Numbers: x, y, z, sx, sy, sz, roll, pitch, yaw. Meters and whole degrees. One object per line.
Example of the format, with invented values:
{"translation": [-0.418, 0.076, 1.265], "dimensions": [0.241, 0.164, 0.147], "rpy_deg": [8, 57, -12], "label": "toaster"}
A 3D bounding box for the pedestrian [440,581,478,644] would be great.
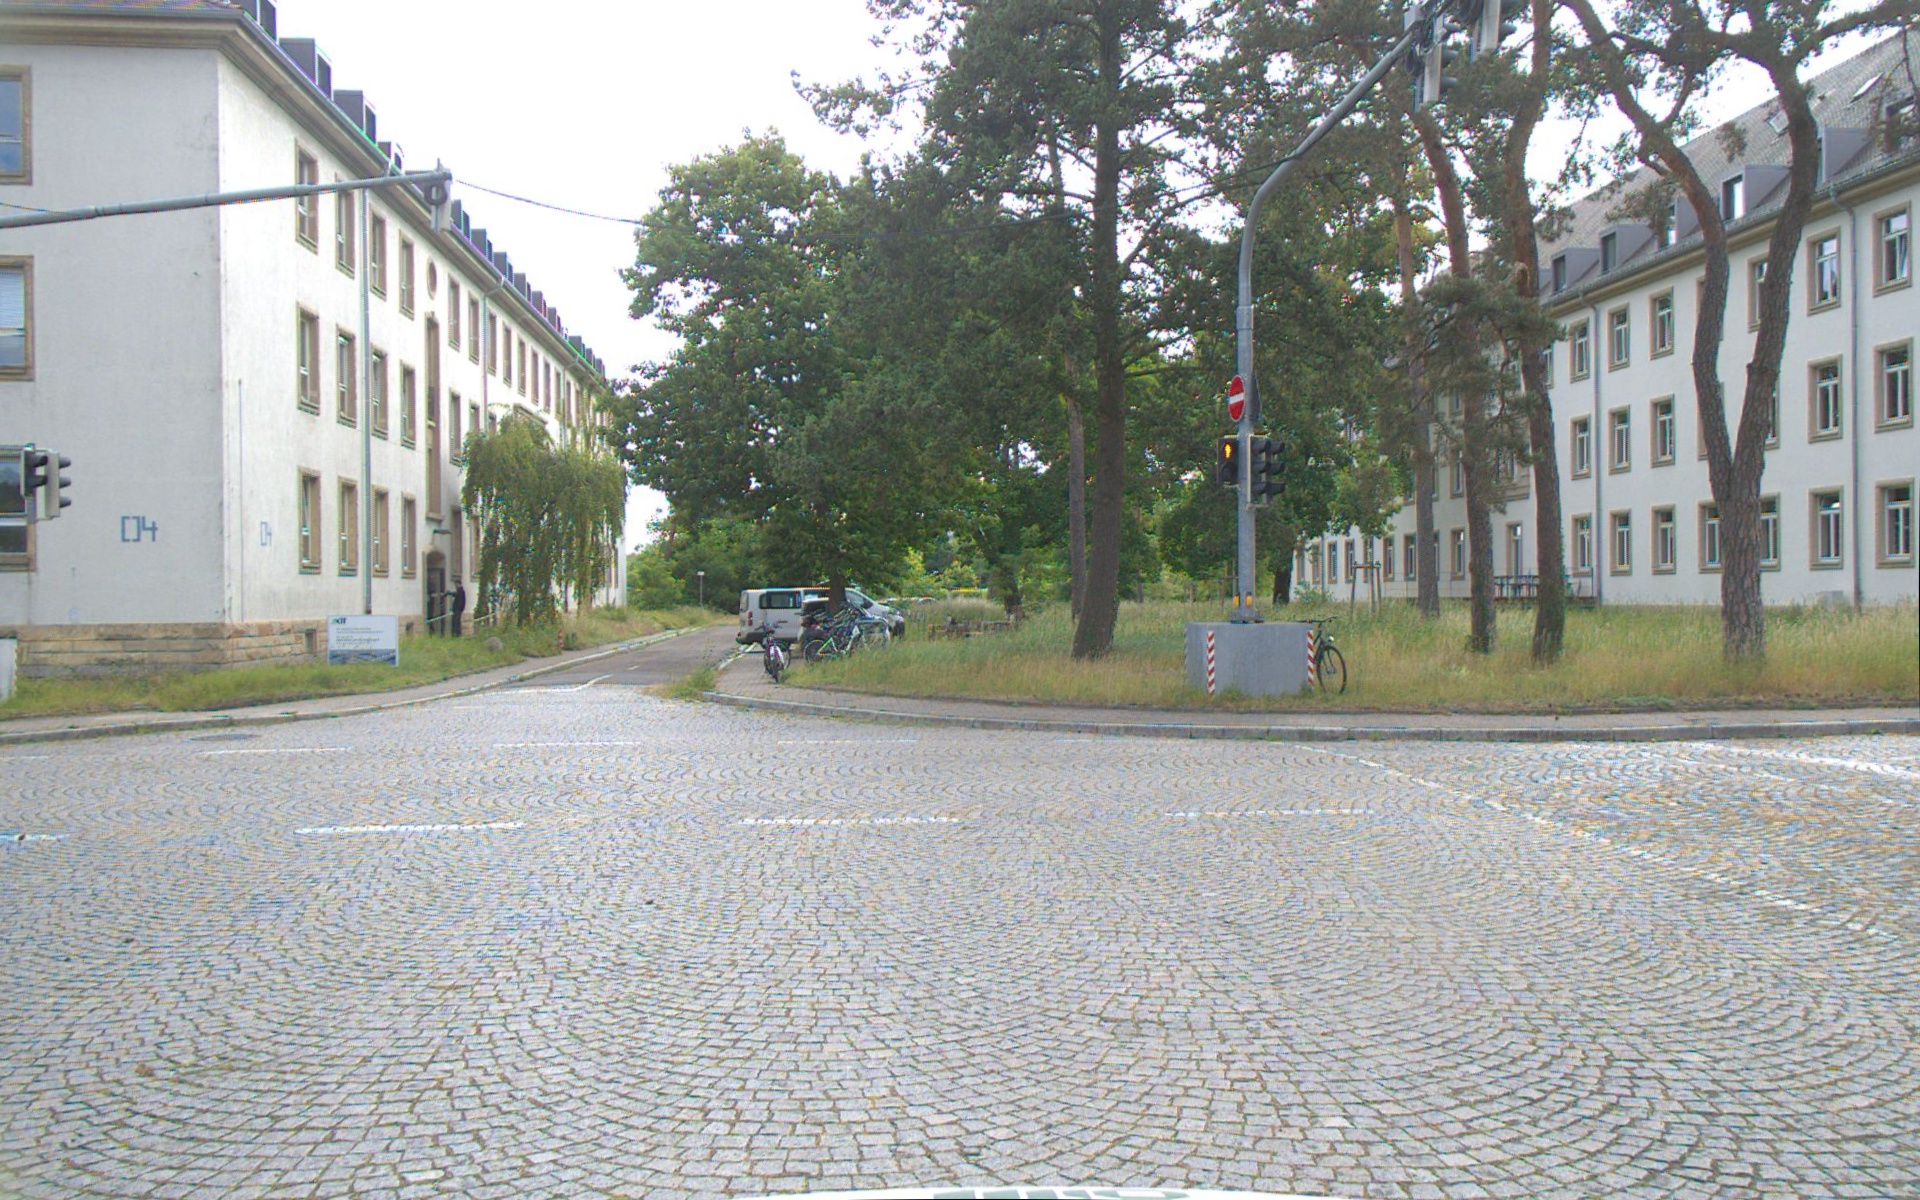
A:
{"translation": [-14.668, 0.363, 48.453], "dimensions": [0.820, 1.812, 0.941], "rpy_deg": [-1, 0, 0], "label": "pedestrian"}

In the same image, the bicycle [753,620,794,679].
{"translation": [-3.608, 0.939, 32.095], "dimensions": [0.609, 1.101, 1.677], "rpy_deg": [0, 0, -1], "label": "bicycle"}

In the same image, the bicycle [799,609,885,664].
{"translation": [-2.735, 0.839, 38.271], "dimensions": [1.944, 1.269, 0.623], "rpy_deg": [0, -1, -7], "label": "bicycle"}

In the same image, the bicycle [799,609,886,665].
{"translation": [-2.679, 0.834, 37.623], "dimensions": [1.944, 1.269, 0.623], "rpy_deg": [0, -1, -7], "label": "bicycle"}

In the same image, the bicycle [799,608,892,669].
{"translation": [-2.435, 0.819, 35.193], "dimensions": [1.944, 1.269, 0.623], "rpy_deg": [0, -1, -7], "label": "bicycle"}

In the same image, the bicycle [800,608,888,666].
{"translation": [-2.613, 0.832, 37.200], "dimensions": [1.944, 1.269, 0.623], "rpy_deg": [0, -1, -7], "label": "bicycle"}

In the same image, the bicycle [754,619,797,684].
{"translation": [-3.351, 0.912, 30.158], "dimensions": [0.610, 1.133, 1.988], "rpy_deg": [0, 0, -2], "label": "bicycle"}

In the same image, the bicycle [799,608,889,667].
{"translation": [-2.577, 0.829, 36.677], "dimensions": [1.944, 1.269, 0.623], "rpy_deg": [0, -1, -7], "label": "bicycle"}

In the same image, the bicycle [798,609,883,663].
{"translation": [-2.807, 0.842, 38.779], "dimensions": [1.944, 1.269, 0.623], "rpy_deg": [0, -1, -7], "label": "bicycle"}

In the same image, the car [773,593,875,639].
{"translation": [-5.411, 0.634, 65.450], "dimensions": [3.954, 1.748, 1.679], "rpy_deg": [-1, 0, -7], "label": "car"}

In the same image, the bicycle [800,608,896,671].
{"translation": [-2.331, 0.814, 34.273], "dimensions": [1.944, 1.269, 0.623], "rpy_deg": [0, -1, -7], "label": "bicycle"}

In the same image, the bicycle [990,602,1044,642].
{"translation": [1.635, 0.626, 47.623], "dimensions": [1.518, 1.144, 0.401], "rpy_deg": [-1, 0, -4], "label": "bicycle"}

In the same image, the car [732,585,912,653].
{"translation": [-4.308, 0.573, 51.619], "dimensions": [5.226, 1.949, 2.137], "rpy_deg": [-1, 0, -20], "label": "car"}

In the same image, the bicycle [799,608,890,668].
{"translation": [-2.520, 0.825, 36.047], "dimensions": [1.944, 1.269, 0.623], "rpy_deg": [0, -1, -7], "label": "bicycle"}

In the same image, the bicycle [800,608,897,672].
{"translation": [-2.269, 0.810, 33.648], "dimensions": [1.944, 1.269, 0.623], "rpy_deg": [0, -1, -7], "label": "bicycle"}

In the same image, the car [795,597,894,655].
{"translation": [-3.378, 0.738, 48.218], "dimensions": [2.792, 1.585, 1.470], "rpy_deg": [-1, 1, -6], "label": "car"}

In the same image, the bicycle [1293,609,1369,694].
{"translation": [4.884, 0.661, 21.857], "dimensions": [0.569, 0.987, 1.677], "rpy_deg": [-2, 2, -1], "label": "bicycle"}

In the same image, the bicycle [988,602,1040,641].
{"translation": [1.591, 0.631, 48.854], "dimensions": [1.518, 1.144, 0.401], "rpy_deg": [-1, 0, -4], "label": "bicycle"}

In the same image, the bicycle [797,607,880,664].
{"translation": [-2.937, 0.849, 39.924], "dimensions": [1.945, 1.269, 0.623], "rpy_deg": [-2, 0, -7], "label": "bicycle"}

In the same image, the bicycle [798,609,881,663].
{"translation": [-2.872, 0.845, 39.268], "dimensions": [1.944, 1.269, 0.623], "rpy_deg": [0, -1, -7], "label": "bicycle"}
